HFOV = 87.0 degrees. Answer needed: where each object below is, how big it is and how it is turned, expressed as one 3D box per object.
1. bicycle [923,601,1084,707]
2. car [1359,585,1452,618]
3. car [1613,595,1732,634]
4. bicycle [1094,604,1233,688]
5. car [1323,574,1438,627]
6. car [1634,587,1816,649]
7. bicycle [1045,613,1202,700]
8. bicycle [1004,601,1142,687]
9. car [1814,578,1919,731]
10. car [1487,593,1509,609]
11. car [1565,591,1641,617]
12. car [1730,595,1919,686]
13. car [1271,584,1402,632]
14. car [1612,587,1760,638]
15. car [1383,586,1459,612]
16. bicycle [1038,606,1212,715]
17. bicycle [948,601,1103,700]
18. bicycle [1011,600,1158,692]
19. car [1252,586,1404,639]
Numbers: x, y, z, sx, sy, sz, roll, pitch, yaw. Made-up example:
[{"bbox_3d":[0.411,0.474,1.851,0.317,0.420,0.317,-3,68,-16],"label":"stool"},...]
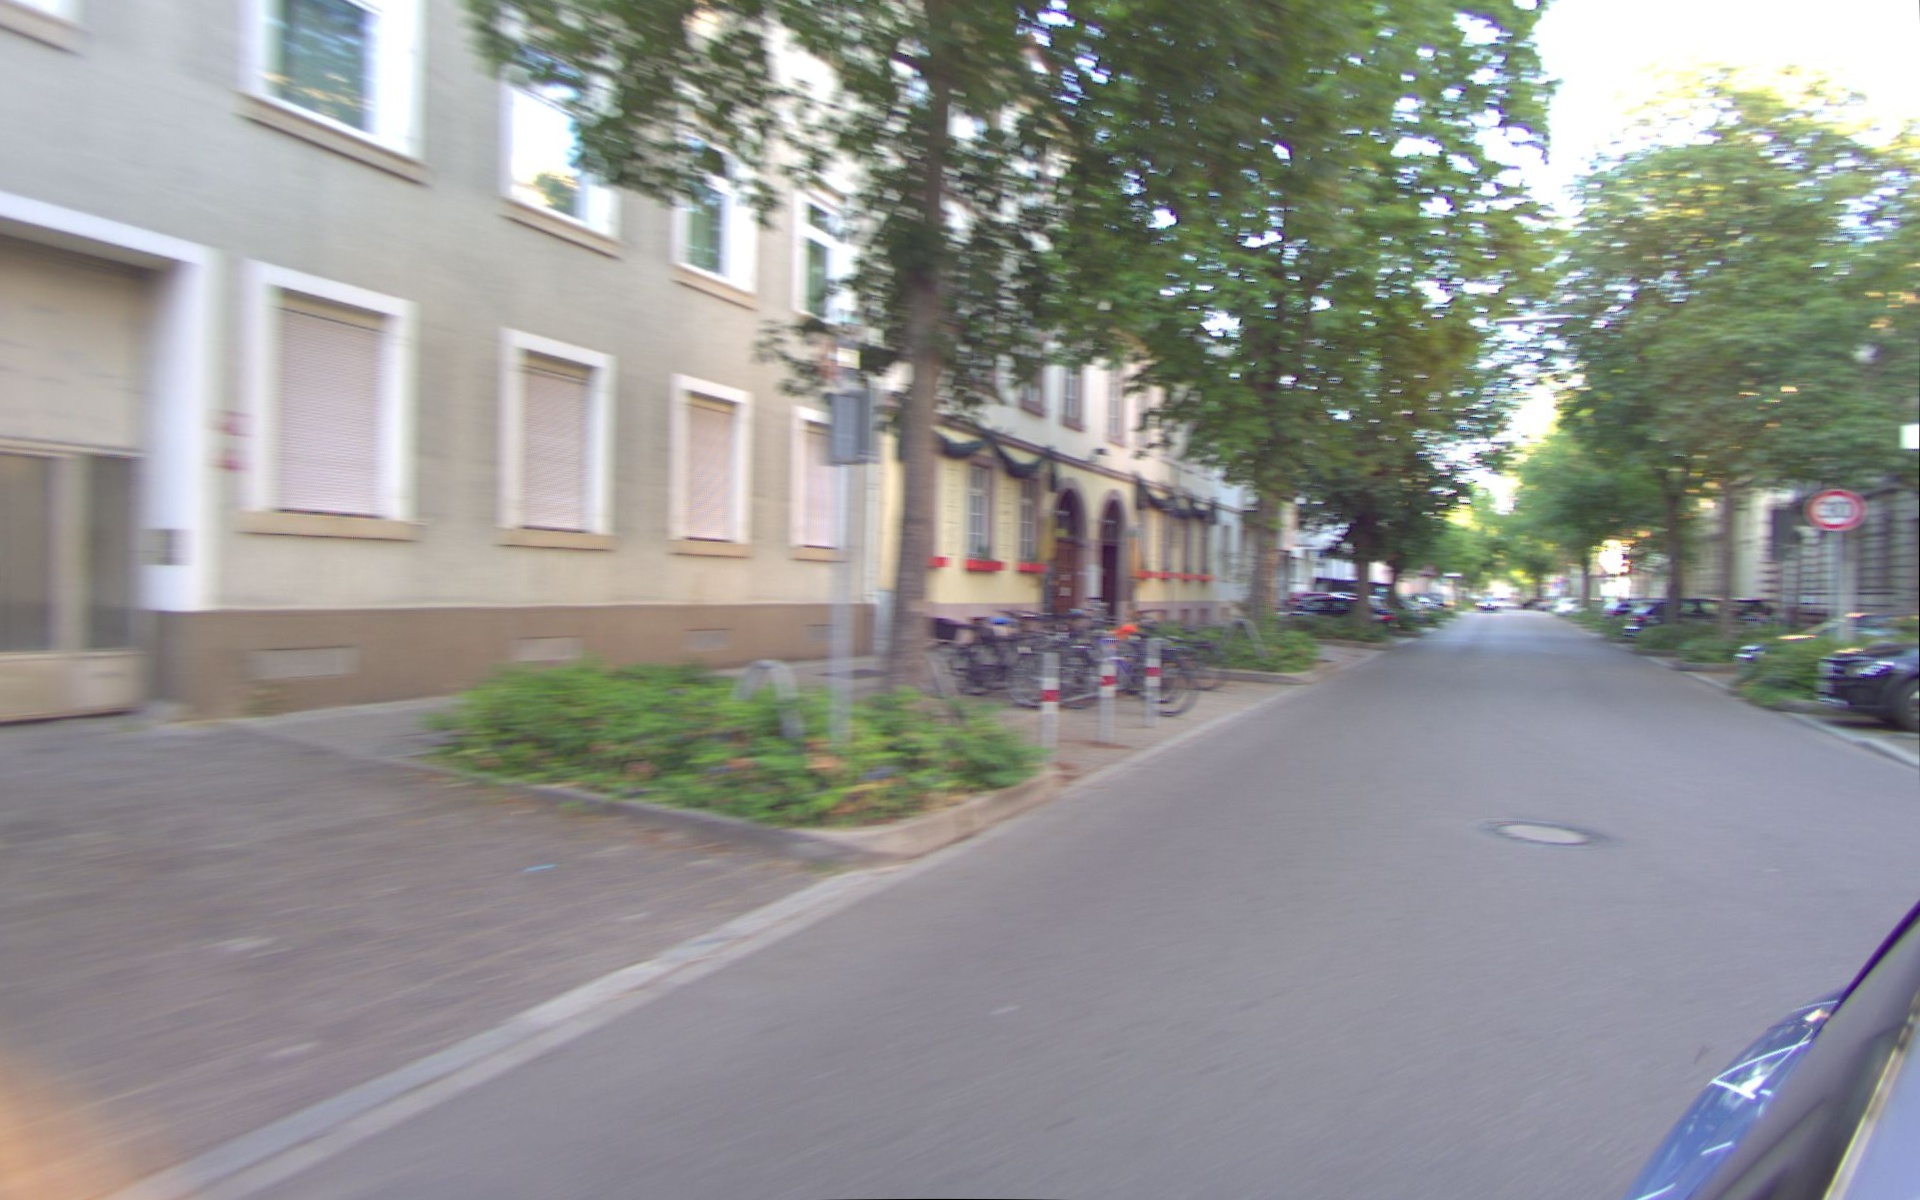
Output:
[{"bbox_3d":[0.506,0.628,12.499,2.027,1.160,0.441,2,1,33],"label":"bicycle"},{"bbox_3d":[24.202,0.073,55.007,4.410,1.633,1.757,2,1,31],"label":"car"},{"bbox_3d":[30.540,0.584,43.541,4.000,1.501,1.757,2,1,31],"label":"car"},{"bbox_3d":[3.083,0.675,15.434,2.024,1.160,0.417,2,1,29],"label":"bicycle"},{"bbox_3d":[18.257,-0.006,44.007,4.410,2.149,1.757,2,1,31],"label":"car"},{"bbox_3d":[24.425,0.530,32.538,4.410,1.760,1.757,2,1,31],"label":"car"},{"bbox_3d":[2.143,0.715,13.424,2.024,1.016,0.417,2,1,29],"label":"bicycle"},{"bbox_3d":[1.659,0.626,15.042,2.024,1.160,0.417,2,1,29],"label":"bicycle"},{"bbox_3d":[13.017,0.619,11.689,4.553,1.760,1.758,0,1,31],"label":"car"},{"bbox_3d":[52.296,0.078,98.329,1.812,1.389,3.960,2,1,28],"label":"car"},{"bbox_3d":[45.773,0.258,72.158,4.410,1.668,1.757,2,1,31],"label":"car"},{"bbox_3d":[16.822,0.723,18.265,4.410,1.506,1.757,2,1,31],"label":"car"},{"bbox_3d":[14.162,0.276,38.128,4.410,1.633,1.757,2,1,31],"label":"car"},{"bbox_3d":[27.638,0.448,38.708,4.410,1.760,1.757,2,1,31],"label":"car"},{"bbox_3d":[30.498,-0.078,66.995,4.410,1.633,1.757,2,1,31],"label":"car"},{"bbox_3d":[1.956,0.685,12.162,2.025,1.160,0.441,2,1,31],"label":"bicycle"},{"bbox_3d":[0.833,0.632,13.273,2.024,1.160,0.417,2,1,29],"label":"bicycle"},{"bbox_3d":[1.726,0.616,14.231,2.024,1.160,0.417,2,1,29],"label":"bicycle"},{"bbox_3d":[11.917,0.363,32.851,4.410,1.524,1.757,2,1,31],"label":"car"}]
